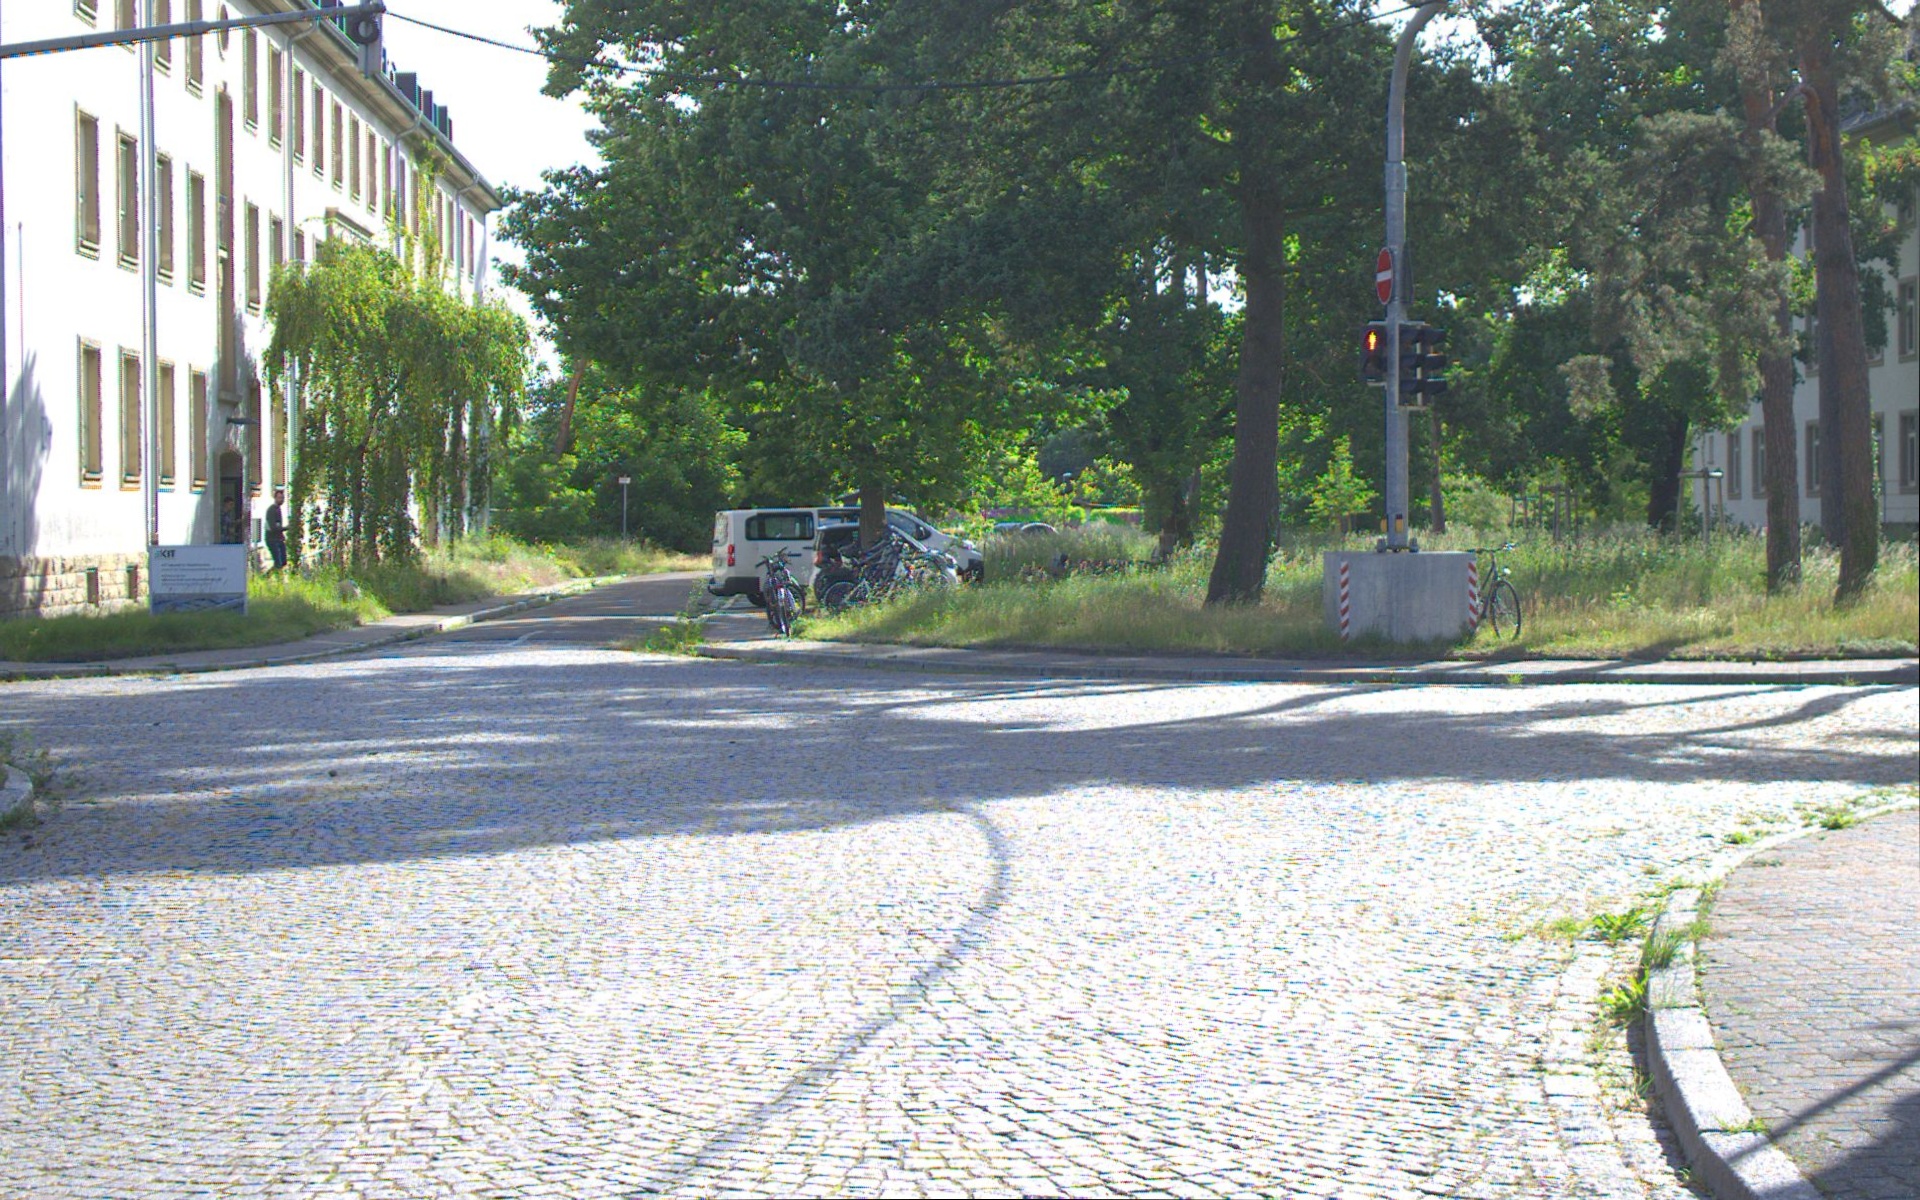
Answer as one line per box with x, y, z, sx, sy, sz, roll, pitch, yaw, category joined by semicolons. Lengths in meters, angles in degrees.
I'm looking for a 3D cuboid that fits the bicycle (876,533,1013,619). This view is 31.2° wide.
-0.228;-0.353;49.816;1.940;1.231;0.485;0;1;-5;bicycle

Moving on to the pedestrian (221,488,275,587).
-13.092;-1.149;63.197;0.767;1.811;0.682;0;1;9;pedestrian

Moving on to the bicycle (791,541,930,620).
-1.451;-0.293;50.297;1.940;1.125;0.648;-1;1;-29;bicycle

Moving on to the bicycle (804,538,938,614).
-1.329;-0.362;51.389;1.940;1.125;0.648;0;1;-7;bicycle

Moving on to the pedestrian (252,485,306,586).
-12.354;-1.172;62.372;0.812;1.811;0.555;0;1;9;pedestrian

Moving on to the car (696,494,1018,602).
-2.020;-1.023;66.284;5.929;2.007;2.476;0;1;-9;car

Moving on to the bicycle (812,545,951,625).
-1.127;-0.221;49.089;1.940;1.125;0.750;0;1;-5;bicycle

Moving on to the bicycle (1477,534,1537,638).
5.780;-0.152;36.355;0.466;1.076;1.174;0;1;1;bicycle

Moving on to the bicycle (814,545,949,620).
-1.106;-0.246;48.291;1.854;1.027;0.750;0;1;-5;bicycle

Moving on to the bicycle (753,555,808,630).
-2.445;-0.111;46.707;0.695;0.968;1.861;0;1;-4;bicycle

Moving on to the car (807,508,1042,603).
-0.662;-0.816;62.076;3.986;1.678;1.848;0;1;-10;car

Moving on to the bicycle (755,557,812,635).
-2.311;-0.064;44.773;0.695;0.968;1.861;0;1;-4;bicycle
